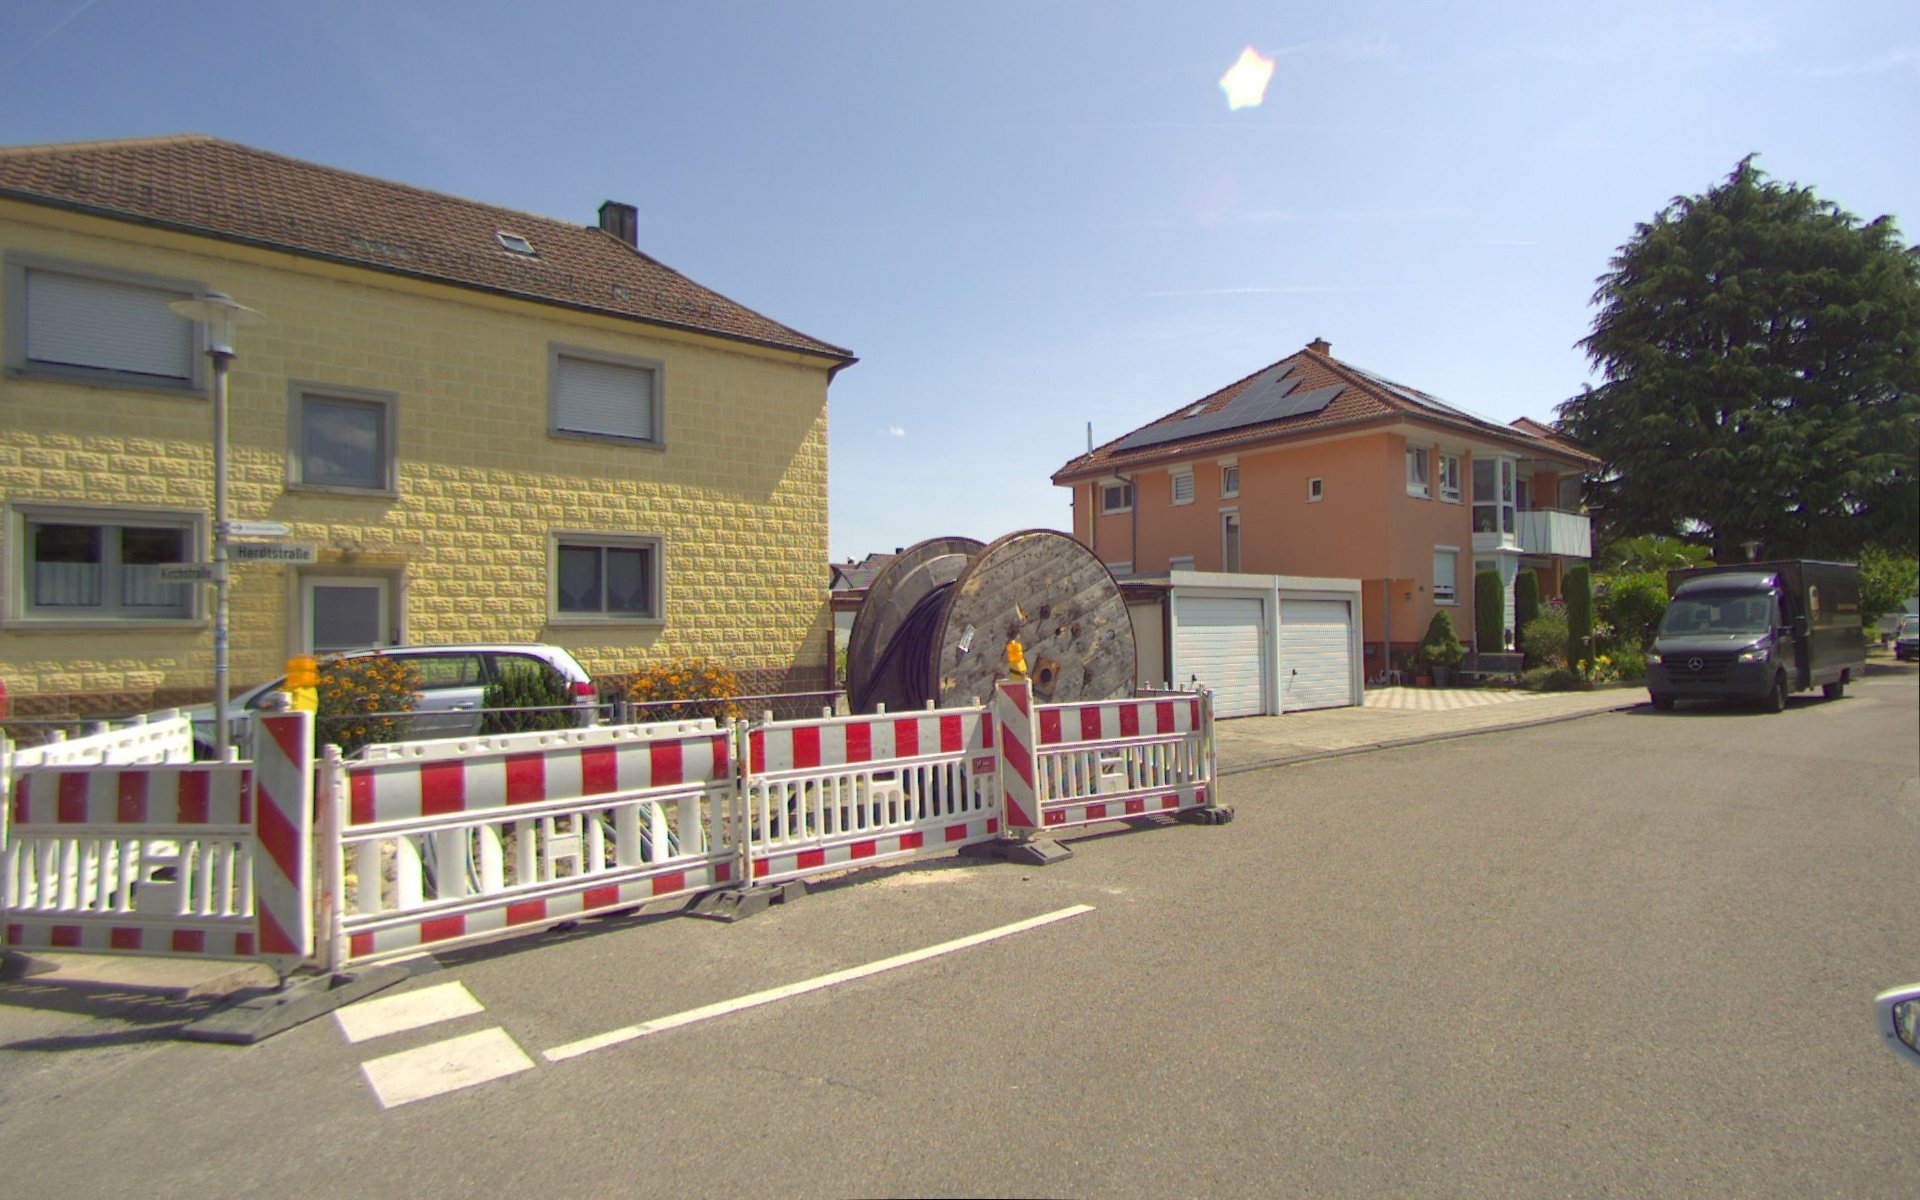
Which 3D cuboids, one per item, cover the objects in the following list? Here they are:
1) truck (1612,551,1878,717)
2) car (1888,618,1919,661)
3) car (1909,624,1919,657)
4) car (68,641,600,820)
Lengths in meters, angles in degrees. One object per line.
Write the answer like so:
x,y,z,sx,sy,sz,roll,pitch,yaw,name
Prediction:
16.050,0.704,20.322,7.233,2.823,2.416,1,-5,-38,truck
41.106,1.654,42.874,4.175,1.786,1.792,1,-2,-42,car
45.577,1.851,46.714,3.970,1.514,1.792,1,-2,-42,car
-6.242,1.220,10.618,4.415,1.505,1.780,0,-2,-27,car
